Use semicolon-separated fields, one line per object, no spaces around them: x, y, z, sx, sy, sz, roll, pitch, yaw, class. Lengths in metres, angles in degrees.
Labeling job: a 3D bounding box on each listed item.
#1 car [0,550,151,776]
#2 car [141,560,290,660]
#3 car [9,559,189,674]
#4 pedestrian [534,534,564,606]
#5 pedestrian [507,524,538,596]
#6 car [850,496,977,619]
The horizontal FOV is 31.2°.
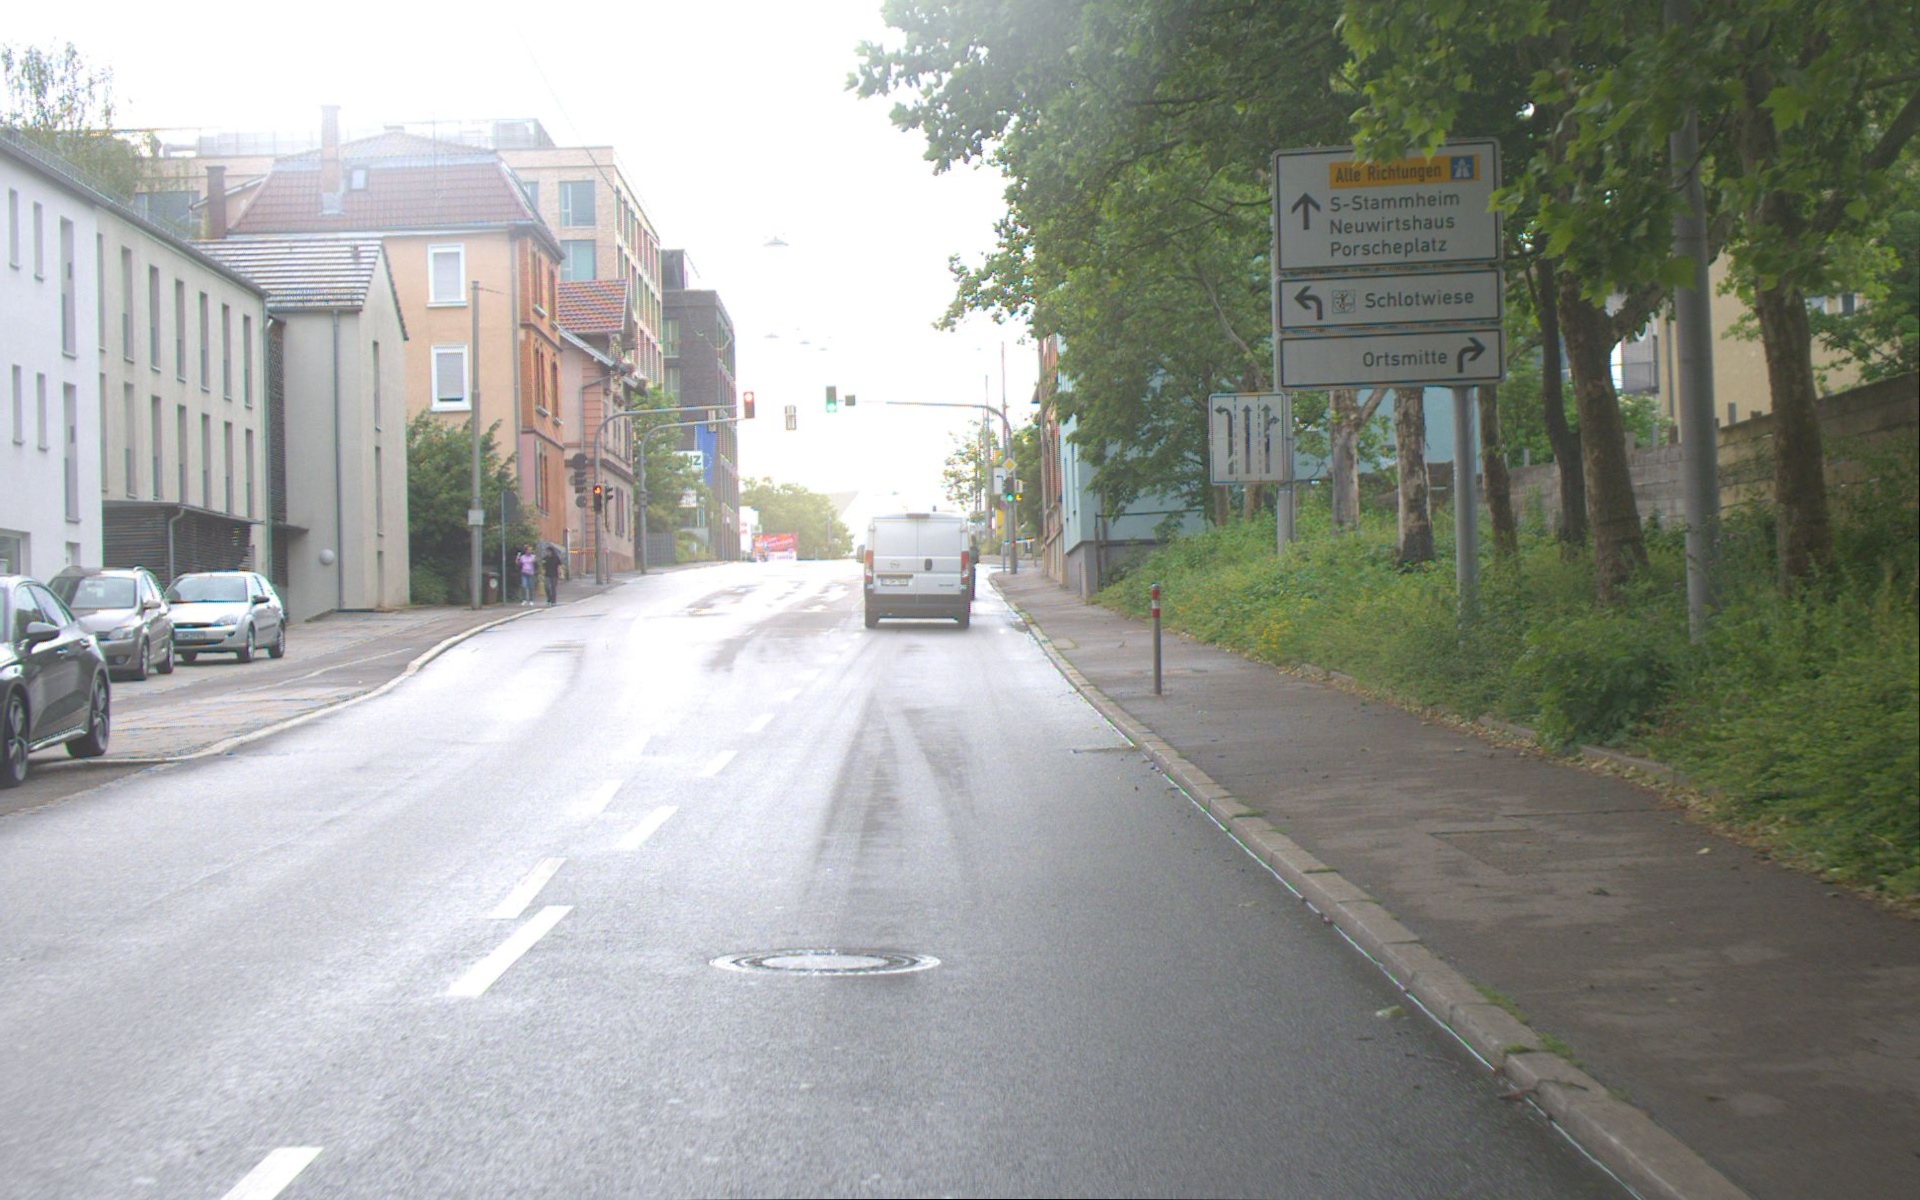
-7.075;0.385;24.408;1.635;1.477;4.359;1;0;0;car
-12.122;0.134;56.186;1.667;1.525;4.096;-1;1;-2;car
-12.274;0.205;49.222;1.667;1.525;4.096;-1;1;-2;car
-11.525;-0.856;96.437;0.671;2.007;0.941;0;1;4;pedestrian
-12.280;-1.124;96.505;0.671;2.007;0.941;0;1;4;pedestrian
-0.879;-0.798;67.040;2.336;2.223;4.000;-2;-1;0;car
